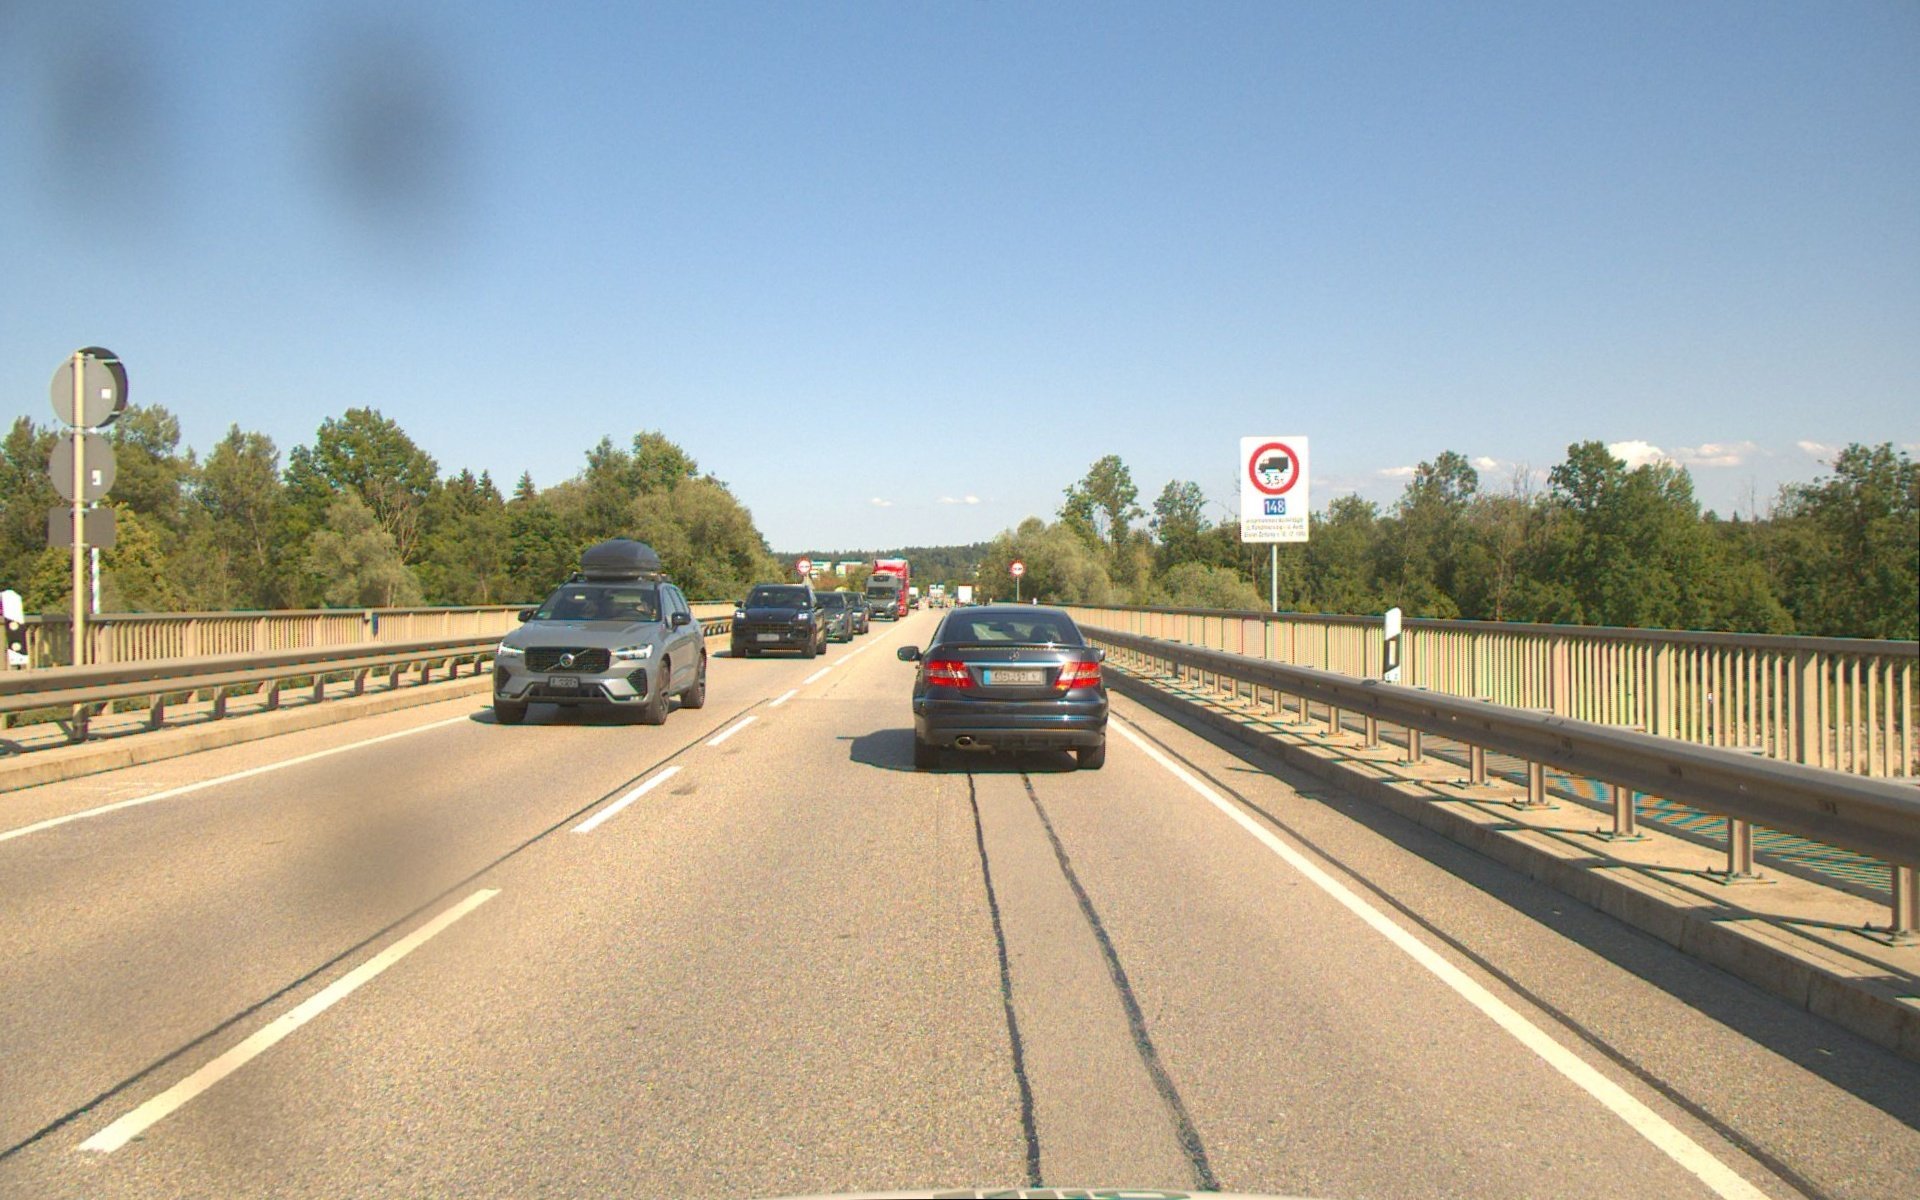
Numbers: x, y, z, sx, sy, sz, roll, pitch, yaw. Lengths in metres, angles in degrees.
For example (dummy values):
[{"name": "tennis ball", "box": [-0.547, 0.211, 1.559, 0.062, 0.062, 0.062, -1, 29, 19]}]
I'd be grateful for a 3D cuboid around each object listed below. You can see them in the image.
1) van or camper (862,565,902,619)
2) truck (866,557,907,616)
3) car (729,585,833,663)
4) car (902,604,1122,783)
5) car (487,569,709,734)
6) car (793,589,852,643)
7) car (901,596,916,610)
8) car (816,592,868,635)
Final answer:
[{"name": "van or camper", "box": [-4.659, -0.474, 99.735, 2.268, 3.104, 6.815, 1, 0, -2]}, {"name": "truck", "box": [-5.406, -0.990, 122.423, 2.849, 4.258, 5.710, 1, 0, -2]}, {"name": "car", "box": [-4.230, 0.524, 39.761, 2.012, 1.681, 4.720, 2, 1, -1]}, {"name": "car", "box": [0.433, 0.763, 15.376, 1.756, 1.400, 4.000, 1, 0, 0]}, {"name": "car", "box": [-4.226, 0.542, 20.003, 1.817, 1.752, 4.564, 1, 0, -2]}, {"name": "car", "box": [-4.356, 0.482, 52.796, 1.771, 1.605, 4.197, 1, 0, -4]}, {"name": "car", "box": [-6.620, 0.367, 211.780, 1.804, 1.671, 4.575, 0, 0, -2]}, {"name": "car", "box": [-4.563, 0.511, 64.488, 1.837, 1.611, 4.272, 1, 0, -2]}]
